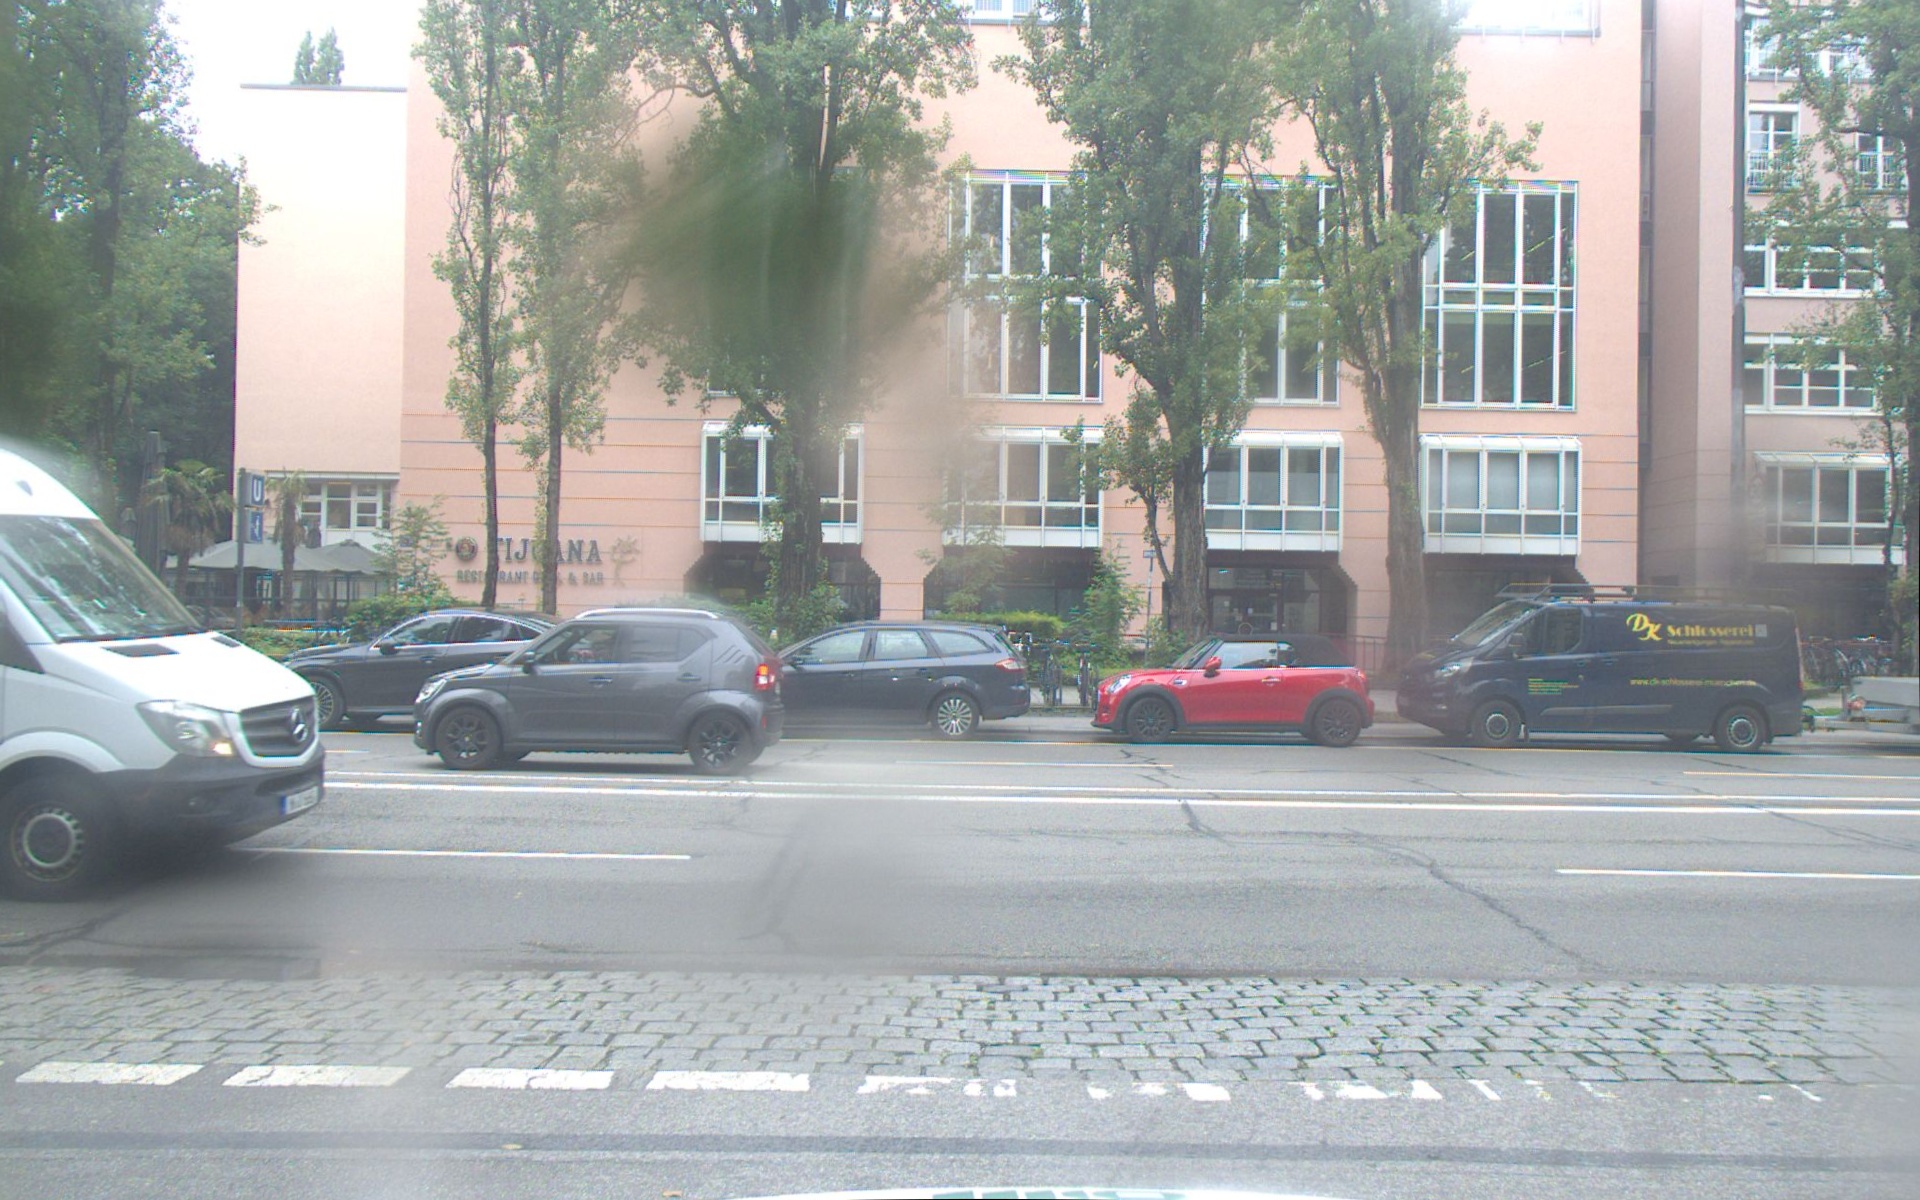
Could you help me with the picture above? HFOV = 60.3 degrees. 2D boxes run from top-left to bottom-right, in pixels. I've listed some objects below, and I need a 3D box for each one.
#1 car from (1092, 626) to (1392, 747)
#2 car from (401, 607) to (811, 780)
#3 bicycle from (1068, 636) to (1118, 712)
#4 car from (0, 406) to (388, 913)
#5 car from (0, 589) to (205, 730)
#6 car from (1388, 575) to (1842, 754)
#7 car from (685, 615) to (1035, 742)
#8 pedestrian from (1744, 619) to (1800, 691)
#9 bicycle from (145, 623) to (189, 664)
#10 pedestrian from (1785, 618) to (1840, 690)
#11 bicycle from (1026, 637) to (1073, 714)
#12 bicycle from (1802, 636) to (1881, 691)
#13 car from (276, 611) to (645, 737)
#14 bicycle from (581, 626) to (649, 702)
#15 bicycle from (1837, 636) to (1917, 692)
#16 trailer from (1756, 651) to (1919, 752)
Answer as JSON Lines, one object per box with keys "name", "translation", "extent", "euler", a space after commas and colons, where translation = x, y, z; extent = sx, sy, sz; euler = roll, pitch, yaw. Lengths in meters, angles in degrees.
{"name": "car", "translation": [3.711, 1.131, 22.227], "extent": [3.780, 1.474, 1.679], "euler": [1, 0, 2]}
{"name": "car", "translation": [-3.422, 0.905, 16.564], "extent": [3.663, 1.554, 1.849], "euler": [1, -1, 0]}
{"name": "bicycle", "translation": [2.138, 1.174, 26.670], "extent": [0.660, 1.144, 1.742], "euler": [1, 0, 0]}
{"name": "car", "translation": [-6.724, 0.274, 9.835], "extent": [5.899, 2.698, 2.046], "euler": [1, 1, -1]}
{"name": "car", "translation": [-12.471, 0.767, 21.985], "extent": [3.983, 1.762, 1.792], "euler": [1, -2, -2]}
{"name": "car", "translation": [8.776, 0.842, 22.495], "extent": [5.367, 2.235, 2.023], "euler": [1, 0, -1]}
{"name": "car", "translation": [-1.293, 1.030, 22.343], "extent": [4.514, 1.555, 1.793], "euler": [1, 0, -1]}
{"name": "pedestrian", "translation": [16.145, 1.094, 32.878], "extent": [0.699, 1.393, 0.724], "euler": [1, -1, -30]}
{"name": "bicycle", "translation": [-16.396, 0.890, 34.196], "extent": [0.317, 0.812, 1.030], "euler": [1, 0, 6]}
{"name": "pedestrian", "translation": [16.933, 1.069, 32.867], "extent": [0.714, 1.393, 0.709], "euler": [1, -1, 0]}
{"name": "bicycle", "translation": [1.431, 1.198, 26.664], "extent": [0.660, 1.144, 1.742], "euler": [1, 0, 0]}
{"name": "bicycle", "translation": [19.275, 1.373, 36.198], "extent": [0.660, 1.144, 1.989], "euler": [1, 0, 0]}
{"name": "car", "translation": [-6.640, 0.965, 22.331], "extent": [4.408, 1.555, 1.793], "euler": [1, 0, -1]}
{"name": "bicycle", "translation": [-5.527, 1.002, 26.576], "extent": [0.660, 1.144, 1.989], "euler": [1, 0, 0]}
{"name": "bicycle", "translation": [20.045, 1.380, 36.195], "extent": [0.660, 1.144, 1.989], "euler": [1, 0, 1]}
{"name": "trailer", "translation": [14.372, 1.385, 22.531], "extent": [5.895, 1.220, 2.405], "euler": [1, 0, 0]}
